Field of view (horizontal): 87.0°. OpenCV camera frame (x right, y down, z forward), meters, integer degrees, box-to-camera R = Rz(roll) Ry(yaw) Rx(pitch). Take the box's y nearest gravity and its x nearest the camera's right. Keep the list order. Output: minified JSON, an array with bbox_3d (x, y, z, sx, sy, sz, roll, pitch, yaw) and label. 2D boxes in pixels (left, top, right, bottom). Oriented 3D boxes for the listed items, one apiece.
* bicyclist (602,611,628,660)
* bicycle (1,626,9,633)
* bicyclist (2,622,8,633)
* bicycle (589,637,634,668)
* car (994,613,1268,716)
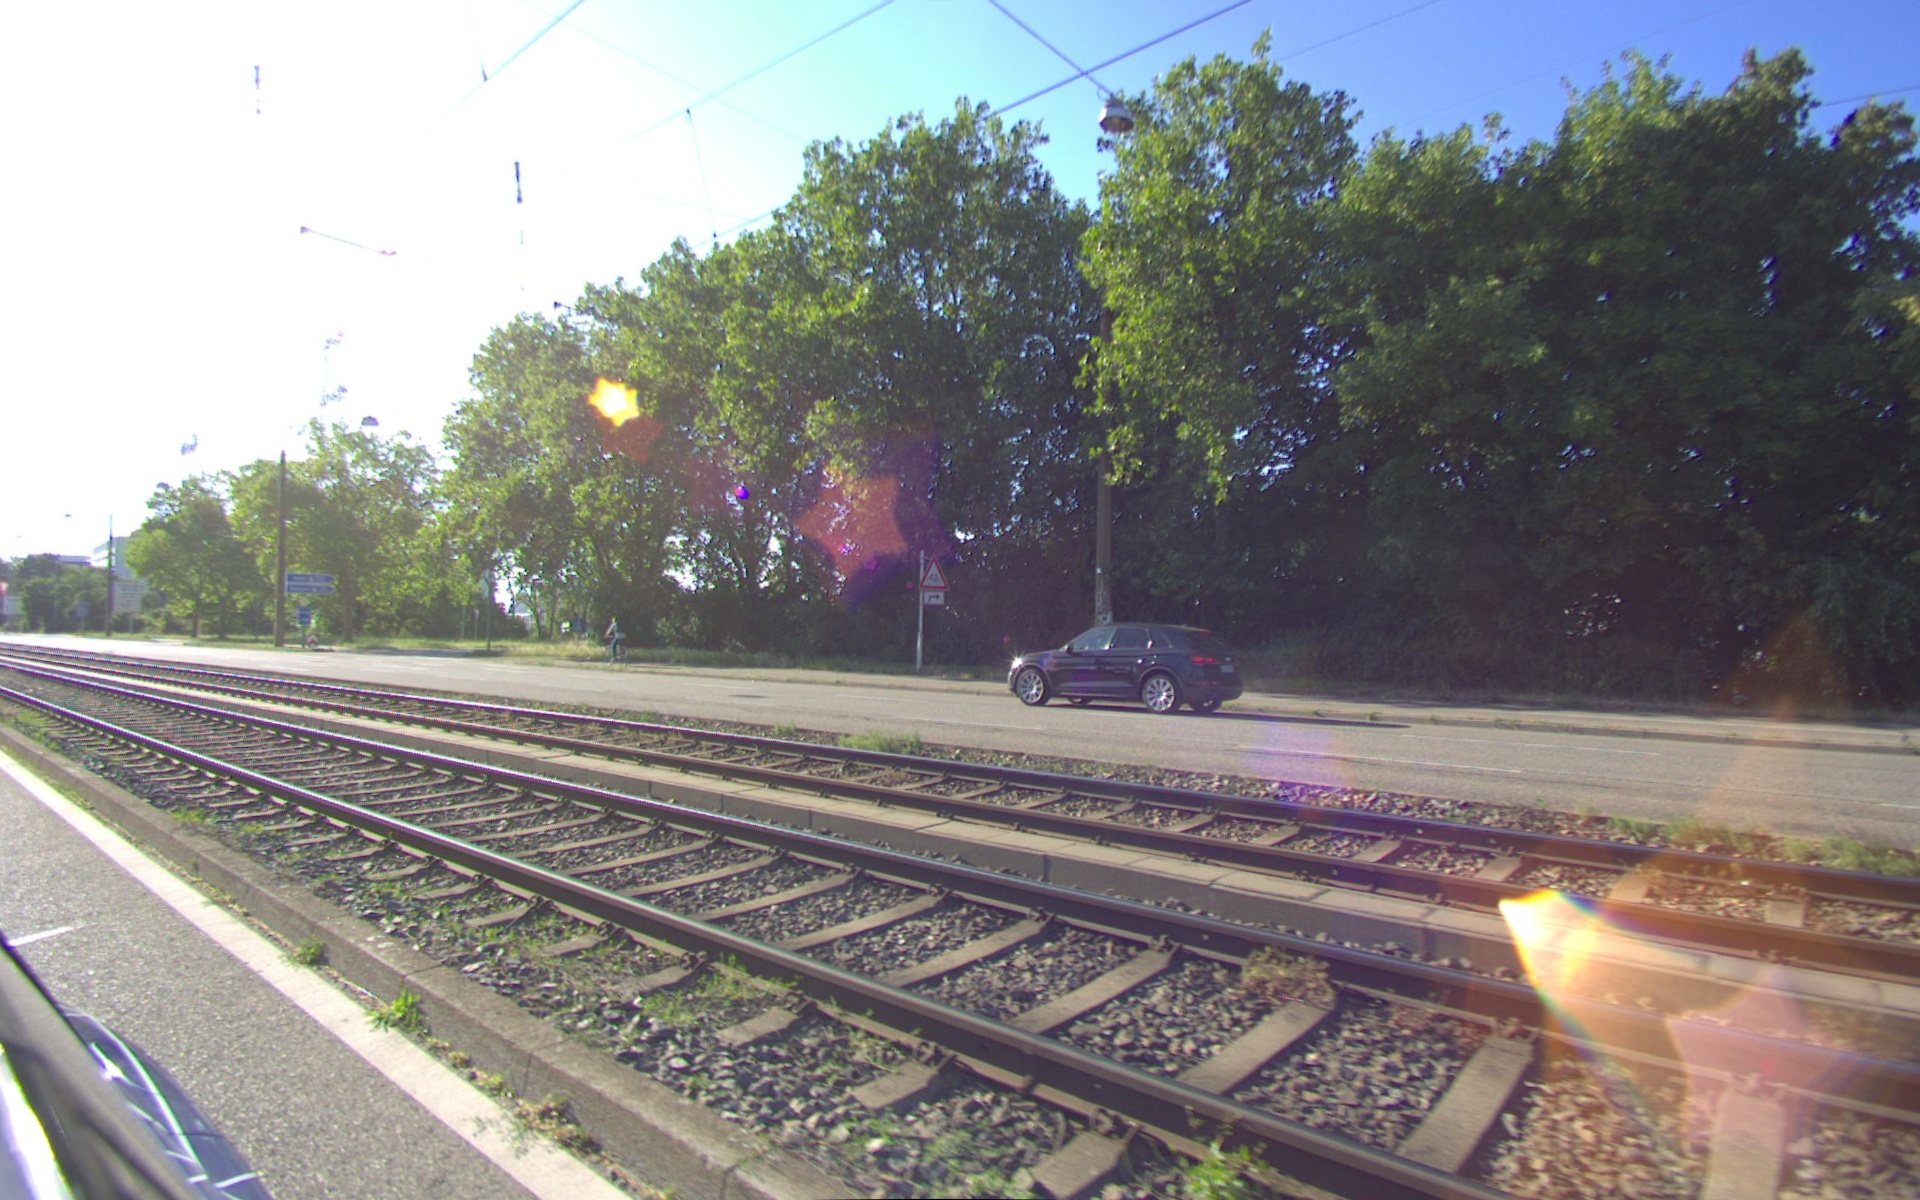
[{"bbox_3d":[-12.323,1.262,36.106,0.544,1.703,0.820,-1,0,-45],"label":"bicyclist"},{"bbox_3d":[-139.458,4.341,147.762,2.184,1.029,0.584,-1,-2,41],"label":"bicycle"},{"bbox_3d":[-139.402,4.024,147.714,0.966,1.623,0.584,-1,-2,41],"label":"bicyclist"},{"bbox_3d":[-12.385,1.853,35.940,2.239,0.993,0.544,-1,0,44],"label":"bicycle"},{"bbox_3d":[3.134,1.144,19.168,4.793,1.698,1.973,-1,-3,41],"label":"car"}]
